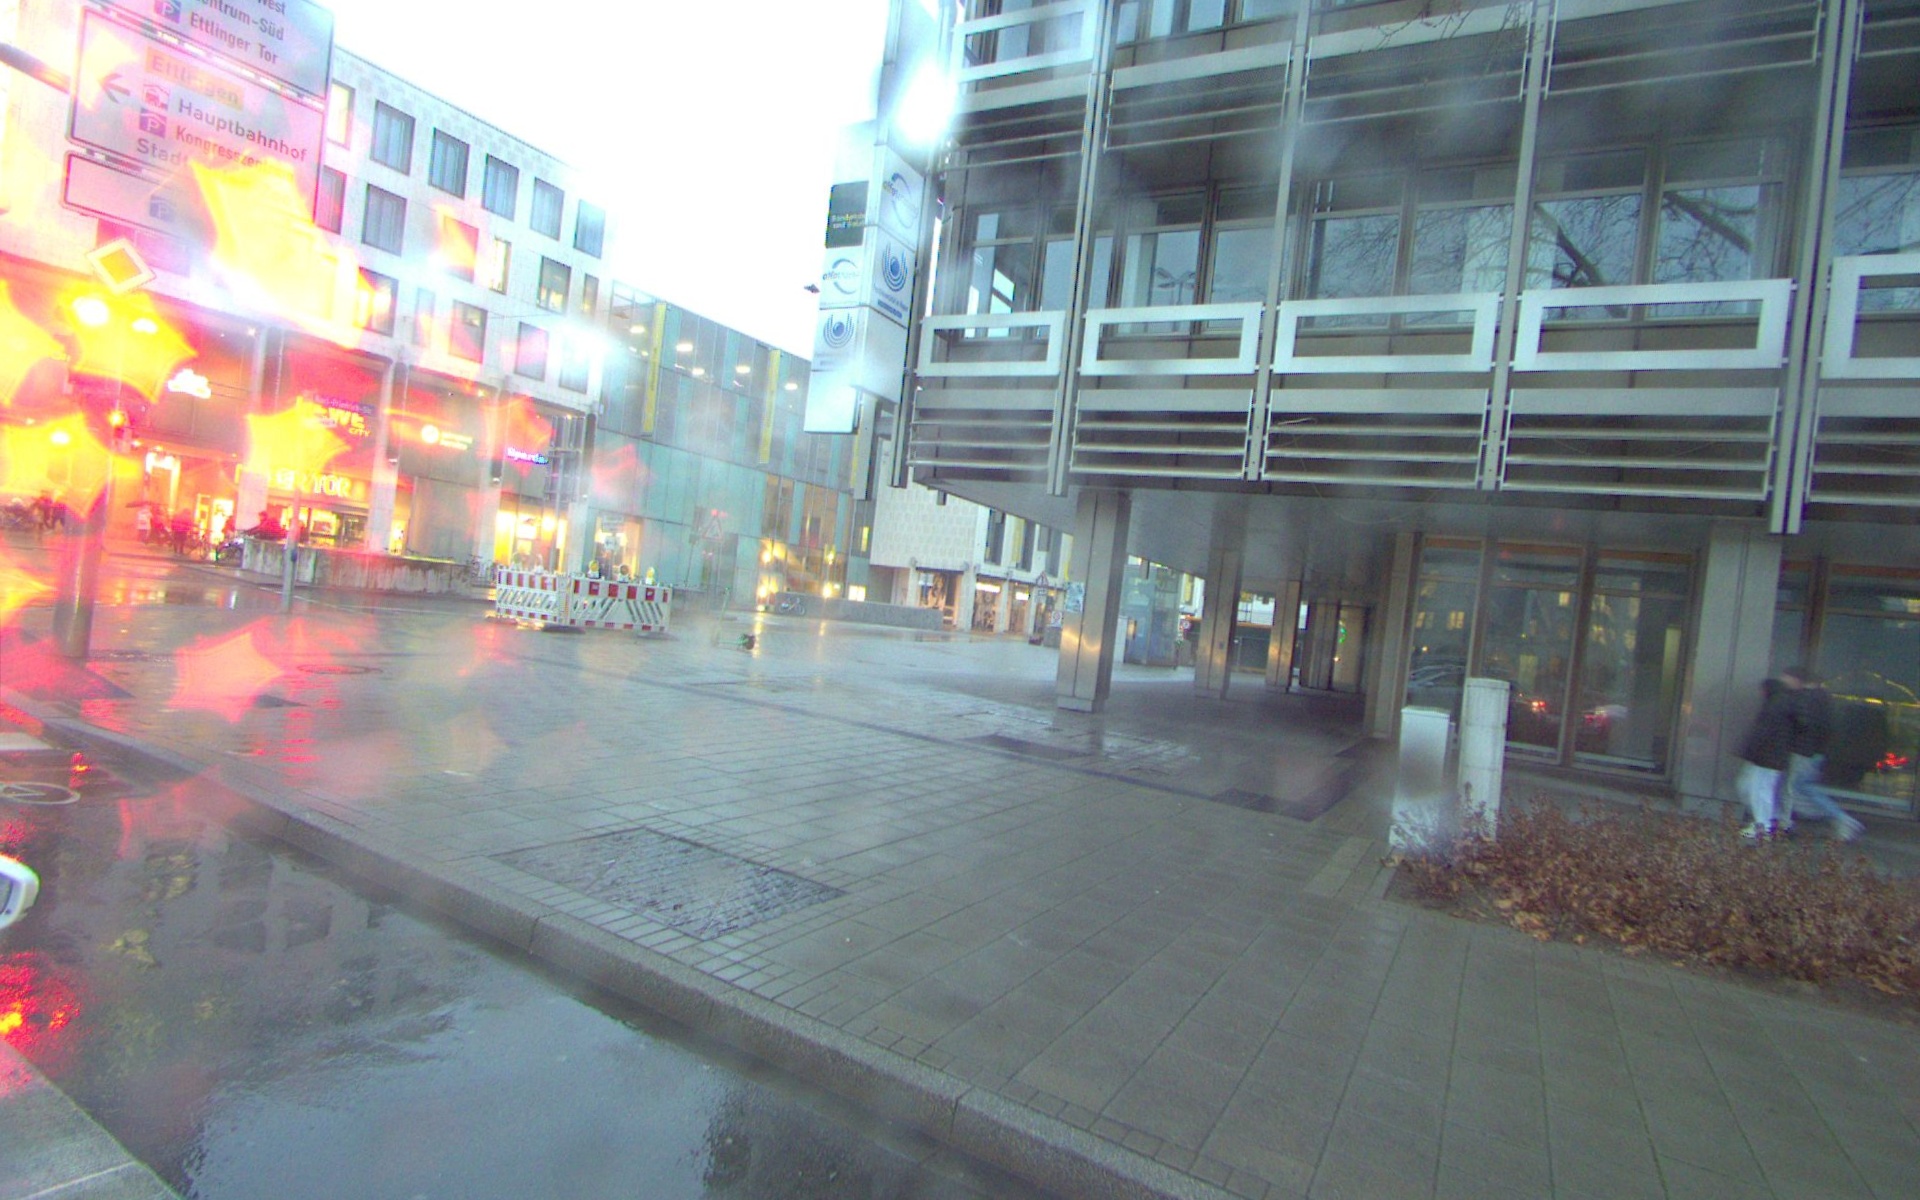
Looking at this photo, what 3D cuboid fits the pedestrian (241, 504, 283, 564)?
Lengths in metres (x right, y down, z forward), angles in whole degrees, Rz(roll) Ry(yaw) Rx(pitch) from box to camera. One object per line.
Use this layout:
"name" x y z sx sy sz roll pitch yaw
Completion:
"pedestrian" -20.150 -1.903 29.049 0.778 1.615 0.605 6 1 -43

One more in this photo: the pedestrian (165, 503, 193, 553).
"pedestrian" -28.497 -2.617 36.704 0.529 1.706 0.546 6 1 -21

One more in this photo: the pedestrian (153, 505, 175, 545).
"pedestrian" -36.183 -3.395 45.723 0.529 1.739 0.500 6 1 -21

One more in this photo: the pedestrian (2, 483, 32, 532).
"pedestrian" -35.559 -3.482 37.934 0.529 1.739 0.500 6 1 -21

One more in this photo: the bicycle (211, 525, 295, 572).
"bicycle" -20.306 -1.474 28.934 1.839 1.107 0.610 7 0 -44

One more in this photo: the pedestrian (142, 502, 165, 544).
"pedestrian" -35.366 -3.366 44.107 0.529 1.739 0.500 6 1 -21

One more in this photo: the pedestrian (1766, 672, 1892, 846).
"pedestrian" 8.681 1.561 10.077 0.733 1.584 0.484 7 1 30

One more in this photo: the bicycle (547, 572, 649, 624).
"bicycle" -8.775 -0.024 24.495 0.608 1.045 2.374 7 0 34

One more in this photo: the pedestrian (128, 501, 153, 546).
"pedestrian" -33.365 -3.113 40.962 0.529 1.739 0.500 6 1 -21

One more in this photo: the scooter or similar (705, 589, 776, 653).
"scooter or similar" -4.413 0.422 20.226 1.215 1.144 0.606 7 0 32

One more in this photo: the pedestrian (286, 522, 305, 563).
"pedestrian" -30.197 -2.614 45.723 0.369 1.782 0.511 7 1 39

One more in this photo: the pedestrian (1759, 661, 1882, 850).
"pedestrian" 8.301 1.477 9.731 0.702 1.689 0.378 7 1 32

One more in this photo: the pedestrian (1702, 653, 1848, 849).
"pedestrian" 7.717 1.398 9.568 0.859 1.689 0.500 7 1 32

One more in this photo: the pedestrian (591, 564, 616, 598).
"pedestrian" -18.339 -0.973 51.762 0.697 1.650 0.795 6 -1 31

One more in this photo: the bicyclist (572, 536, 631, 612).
"bicyclist" -8.710 -0.614 24.482 0.608 1.718 1.034 7 1 34

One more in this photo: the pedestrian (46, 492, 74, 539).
"pedestrian" -34.868 -3.255 38.971 0.529 1.739 0.500 6 1 -21

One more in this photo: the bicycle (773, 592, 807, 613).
"bicycle" -10.398 0.127 61.489 2.101 1.046 0.616 6 0 33

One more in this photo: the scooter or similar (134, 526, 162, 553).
"scooter or similar" -33.361 -2.494 41.345 0.394 1.005 0.741 7 0 33
